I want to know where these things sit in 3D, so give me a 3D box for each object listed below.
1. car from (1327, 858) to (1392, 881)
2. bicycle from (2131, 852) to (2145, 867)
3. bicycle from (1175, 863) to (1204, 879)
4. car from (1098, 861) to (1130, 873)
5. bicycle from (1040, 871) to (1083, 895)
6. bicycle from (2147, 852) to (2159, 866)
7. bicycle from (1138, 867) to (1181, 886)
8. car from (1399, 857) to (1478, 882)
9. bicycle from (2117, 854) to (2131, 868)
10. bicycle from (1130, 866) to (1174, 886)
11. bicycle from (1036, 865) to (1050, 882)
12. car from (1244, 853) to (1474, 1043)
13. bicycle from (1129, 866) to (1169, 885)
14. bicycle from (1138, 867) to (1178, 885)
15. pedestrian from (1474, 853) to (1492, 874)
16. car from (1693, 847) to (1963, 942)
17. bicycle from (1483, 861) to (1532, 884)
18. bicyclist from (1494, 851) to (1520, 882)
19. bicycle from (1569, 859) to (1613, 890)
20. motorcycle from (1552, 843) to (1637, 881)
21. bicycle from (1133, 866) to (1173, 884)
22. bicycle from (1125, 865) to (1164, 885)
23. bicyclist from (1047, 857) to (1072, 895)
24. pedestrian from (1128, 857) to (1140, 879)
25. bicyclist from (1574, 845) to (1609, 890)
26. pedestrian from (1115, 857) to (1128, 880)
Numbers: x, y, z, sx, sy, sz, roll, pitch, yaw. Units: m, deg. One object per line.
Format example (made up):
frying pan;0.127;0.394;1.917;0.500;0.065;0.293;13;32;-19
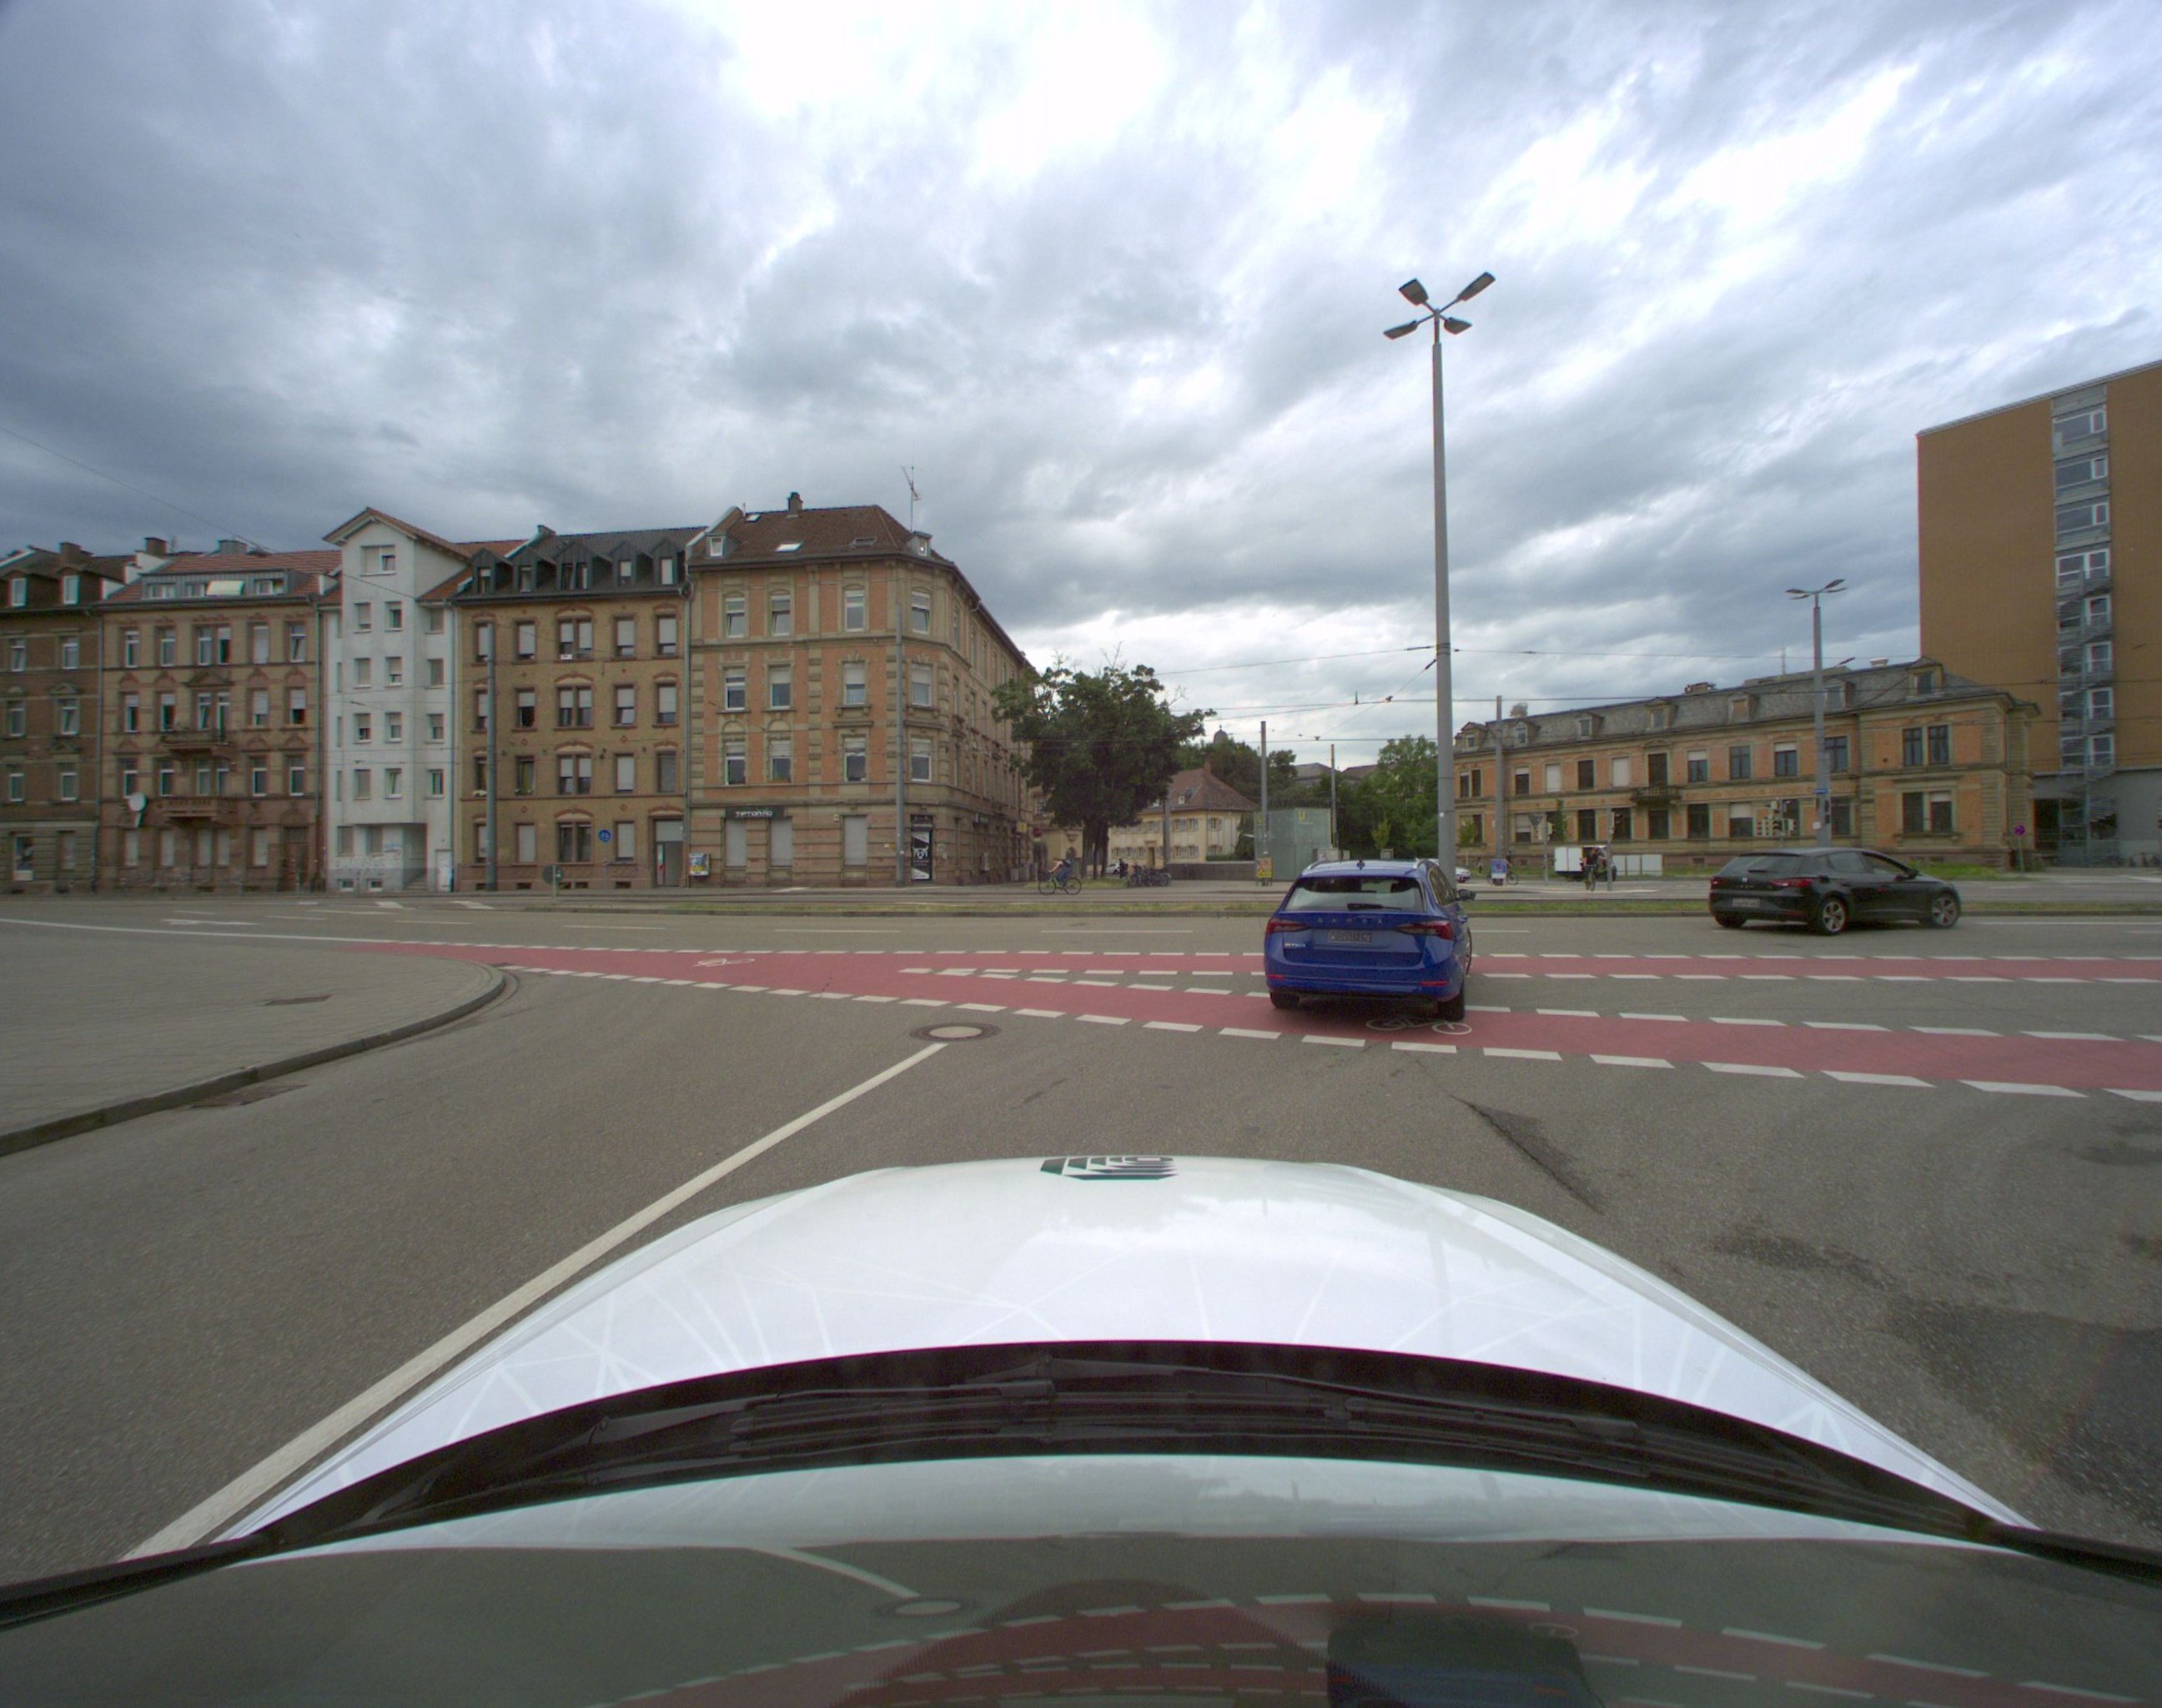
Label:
car;18.673;1.031;54.842;1.701;1.449;4.106;-1;0;-27
bicycle;78.951;0.388;60.804;1.434;1.106;0.566;0;-1;-35
bicycle;7.534;1.176;56.634;0.742;1.115;2.340;-1;0;-30
car;4.024;1.588;100.417;1.704;1.449;4.142;-1;0;-36
bicycle;-0.781;1.159;32.838;1.707;0.915;0.608;-1;0;3
bicycle;79.326;0.383;60.260;1.434;1.049;0.504;0;-1;-35
bicycle;4.144;1.172;43.220;2.196;0.987;0.502;-1;-1;17
car;21.699;0.937;49.519;1.768;1.454;4.119;-1;-1;-32
bicycle;78.543;0.525;61.333;1.434;1.106;0.566;0;-1;-35
bicycle;3.717;1.141;42.532;2.196;1.006;0.482;-1;-1;17
bicycle;-2.188;1.133;46.892;0.658;0.914;1.990;-1;0;1
car;3.229;0.755;8.783;1.763;1.488;4.492;-1;-1;26
bicycle;3.510;1.101;42.001;2.015;0.987;0.524;-1;-1;17
bicycle;4.361;1.249;46.142;2.196;0.987;0.588;-1;0;17
pedestrian;33.499;0.800;67.805;0.763;1.763;1.113;0;-1;-44
car;12.917;0.633;14.146;3.806;1.449;1.701;-1;0;-15
bicycle;22.954;0.967;43.886;0.860;1.208;2.175;0;-1;-32
bicyclist;22.959;0.671;43.890;0.858;1.623;0.908;0;-2;-32
bicycle;21.024;0.845;33.641;0.808;1.243;2.005;-2;-2;10
motorcycle;28.808;0.444;45.738;1.702;2.014;3.649;0;-1;-34
bicycle;4.197;1.210;47.362;2.196;0.987;0.588;-1;0;17
bicycle;3.219;1.087;41.293;1.849;0.987;0.502;-1;-1;15
bicyclist;-0.871;0.888;32.855;0.935;1.494;0.664;-1;0;4
pedestrian;4.169;1.098;64.034;0.839;1.722;0.955;-1;0;11
bicyclist;21.000;0.566;33.534;0.808;1.798;1.032;-2;-1;10
pedestrian;3.044;1.068;61.740;0.839;1.722;0.955;-1;0;11
